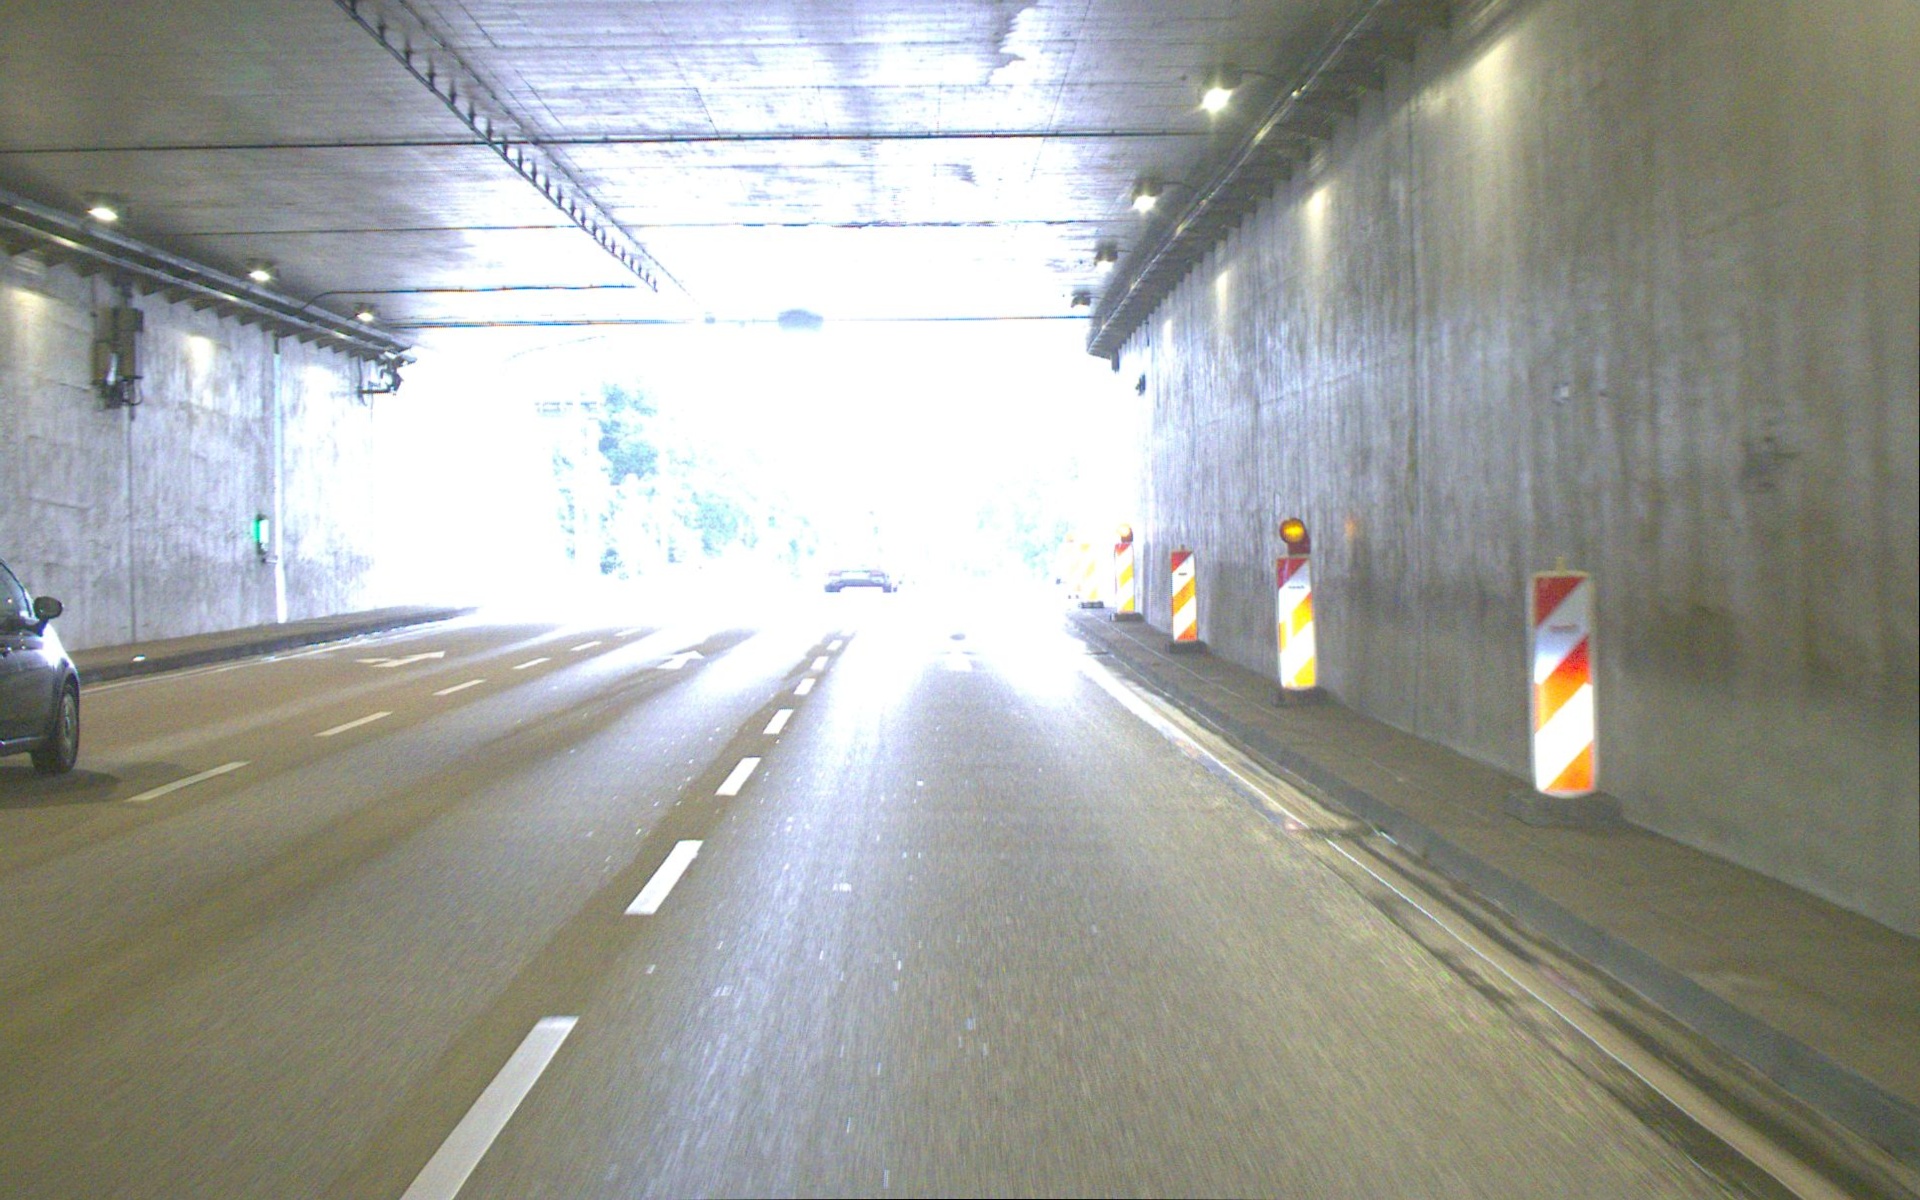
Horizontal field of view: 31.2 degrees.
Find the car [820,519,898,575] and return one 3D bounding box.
[{"bbox_3d":[-2.793,-1.433,94.311,1.993,1.443,4.315,-1,0,-3],"label":"car"}]

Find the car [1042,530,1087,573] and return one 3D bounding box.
[{"bbox_3d":[4.996,-2.316,164.674,1.993,2.007,4.000,-1,0,0],"label":"car"}]

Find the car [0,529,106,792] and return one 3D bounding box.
[{"bbox_3d":[-6.173,0.332,19.983,1.612,1.449,3.573,-1,1,-2],"label":"car"}]

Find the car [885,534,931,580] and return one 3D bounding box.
[{"bbox_3d":[-2.348,-1.924,155.021,1.993,2.007,4.000,-1,0,-1],"label":"car"}]

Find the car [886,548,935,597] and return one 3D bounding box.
[{"bbox_3d":[-2.094,-1.139,145.362,1.993,2.007,4.000,-1,0,-1],"label":"car"}]
